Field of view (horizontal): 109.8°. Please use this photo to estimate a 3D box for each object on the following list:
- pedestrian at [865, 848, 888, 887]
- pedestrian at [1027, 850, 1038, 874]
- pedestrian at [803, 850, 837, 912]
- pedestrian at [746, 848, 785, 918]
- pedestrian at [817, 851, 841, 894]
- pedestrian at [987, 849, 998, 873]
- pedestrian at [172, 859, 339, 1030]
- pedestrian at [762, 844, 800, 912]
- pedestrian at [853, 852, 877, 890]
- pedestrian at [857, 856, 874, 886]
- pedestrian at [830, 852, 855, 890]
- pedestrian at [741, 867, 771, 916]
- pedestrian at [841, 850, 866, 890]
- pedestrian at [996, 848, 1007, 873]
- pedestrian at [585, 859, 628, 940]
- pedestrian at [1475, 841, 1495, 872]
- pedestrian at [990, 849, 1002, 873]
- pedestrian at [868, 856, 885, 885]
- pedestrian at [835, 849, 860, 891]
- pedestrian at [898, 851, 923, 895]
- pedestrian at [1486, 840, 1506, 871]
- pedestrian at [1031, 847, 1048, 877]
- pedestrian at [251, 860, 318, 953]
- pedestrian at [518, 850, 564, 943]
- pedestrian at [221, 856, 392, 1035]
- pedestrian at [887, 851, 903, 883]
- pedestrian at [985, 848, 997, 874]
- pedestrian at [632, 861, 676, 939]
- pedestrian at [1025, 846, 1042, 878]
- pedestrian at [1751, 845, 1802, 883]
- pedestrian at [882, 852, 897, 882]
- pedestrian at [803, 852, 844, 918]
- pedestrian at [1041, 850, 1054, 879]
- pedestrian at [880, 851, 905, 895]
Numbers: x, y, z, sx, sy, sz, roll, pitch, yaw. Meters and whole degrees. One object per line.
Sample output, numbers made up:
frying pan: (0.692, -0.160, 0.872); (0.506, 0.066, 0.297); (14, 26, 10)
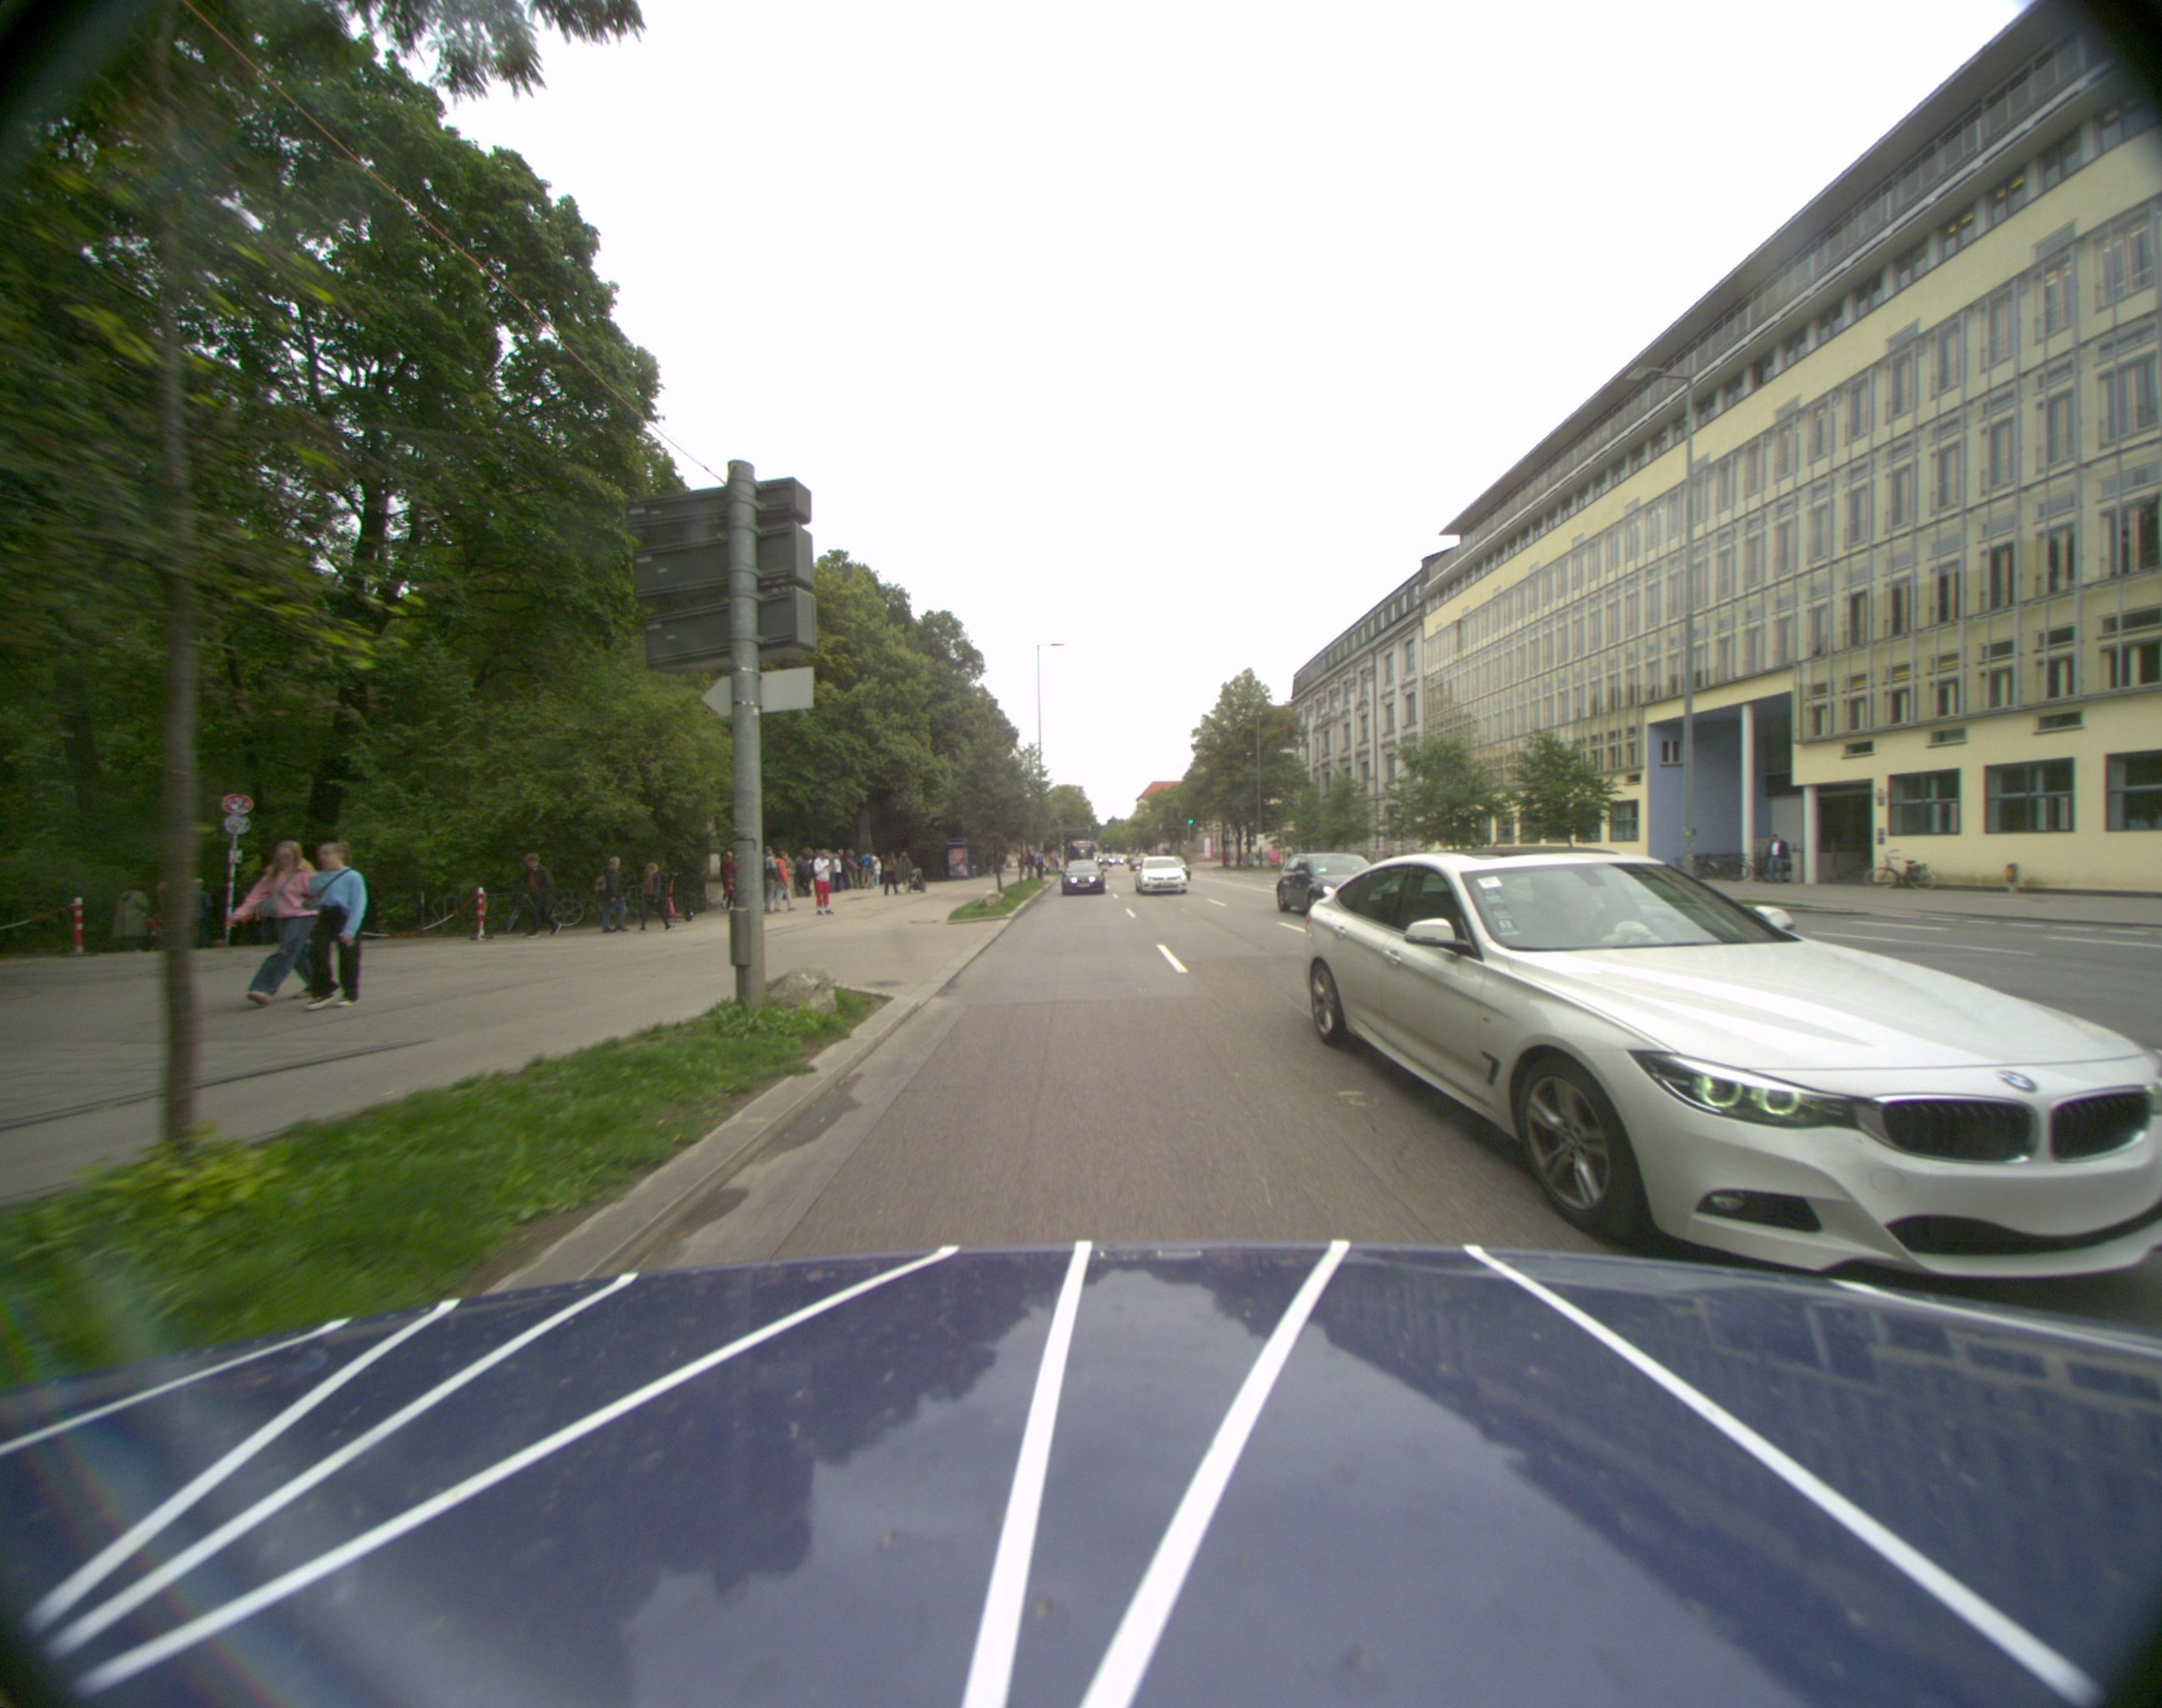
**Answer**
pedestrian: (-10.008, 0.654, 37.129); (0.814, 1.818, 0.729); (-2, 1, 3)
pedestrian: (-3.809, 0.651, 59.542); (0.672, 1.828, 0.641); (-2, 1, 1)
pedestrian: (-7.990, 0.815, 23.270); (0.610, 1.862, 0.693); (-2, 1, 17)
pedestrian: (-8.665, 0.792, 20.894); (0.610, 1.862, 0.693); (-2, 1, 17)
pedestrian: (-10.168, 0.740, 30.658); (0.593, 1.681, 0.729); (-2, 1, 3)
pedestrian: (-6.815, 0.562, 58.489); (0.710, 1.798, 0.950); (-2, 1, 0)
pedestrian: (-8.511, 0.895, 7.866); (0.755, 1.634, 0.850); (-2, 1, 16)
pedestrian: (-8.523, 0.669, 21.608); (0.610, 1.903, 0.693); (-2, 1, 17)
pedestrian: (-10.324, 0.789, 36.374); (0.814, 1.757, 0.729); (-2, 1, 3)
pedestrian: (-10.949, 0.869, 38.581); (0.637, 1.499, 0.533); (-2, 1, 3)
pedestrian: (-10.684, 0.760, 34.028); (0.814, 1.681, 0.673); (-2, 1, 3)
pedestrian: (-9.174, 1.044, 21.465); (0.459, 1.319, 0.648); (-2, 1, 5)
pedestrian: (-10.644, 0.747, 35.553); (0.814, 1.841, 0.729); (-2, 1, 3)
pedestrian: (-6.053, 0.499, 57.809); (0.710, 1.904, 0.956); (-2, 1, 0)
pedestrian: (-10.066, 0.940, 16.131); (0.694, 1.642, 0.610); (-3, 1, -32)
pedestrian: (23.374, 0.145, 43.972); (0.617, 1.766, 0.836); (-2, 1, 1)
pedestrian: (-6.436, 0.533, 57.572); (0.710, 1.798, 0.639); (-2, 1, 0)
pedestrian: (-10.567, 0.849, 39.222); (0.637, 1.499, 0.533); (-2, 1, 3)
pedestrian: (-10.653, 0.723, 34.748); (0.814, 1.841, 0.729); (-2, 1, 3)
pedestrian: (-6.777, 0.753, 30.267); (0.728, 1.681, 0.648); (-2, 1, 5)
pedestrian: (24.017, 0.089, 43.963); (0.617, 1.766, 0.836); (-2, 1, 1)
pedestrian: (-2.570, 0.514, 47.021); (0.637, 1.798, 0.711); (-2, 1, 36)
pedestrian: (-15.051, 0.970, 14.375); (0.694, 1.686, 0.610); (-3, 1, -35)
pedestrian: (-11.161, 0.857, 15.721); (0.694, 1.862, 0.610); (-3, 1, -35)
pedestrian: (-7.606, 0.859, 7.496); (0.755, 1.634, 0.850); (-2, 1, 16)
pedestrian: (-10.482, 0.737, 42.785); (0.637, 1.757, 0.533); (-2, 1, 3)
pedestrian: (-6.810, 0.507, 57.573); (0.710, 1.904, 0.956); (-2, 1, 0)
pedestrian: (-9.045, 0.956, 16.107); (0.694, 1.568, 0.610); (-3, 1, -35)
pedestrian: (-2.850, 0.480, 45.409); (0.804, 1.870, 0.545); (-2, 1, 36)
pedestrian: (25.274, 0.345, 27.635); (0.839, 1.356, 1.086); (-1, 0, 0)
pedestrian: (-10.616, 0.718, 42.157); (0.637, 1.617, 0.533); (-2, 1, 3)
pedestrian: (-6.822, 0.810, 20.154); (0.728, 1.681, 0.648); (-2, 1, 5)
pedestrian: (-2.123, 0.668, 48.419); (0.710, 1.798, 0.639); (-2, 1, 0)
pedestrian: (-7.525, 0.748, 30.354); (0.728, 1.681, 0.648); (-2, 1, 5)
